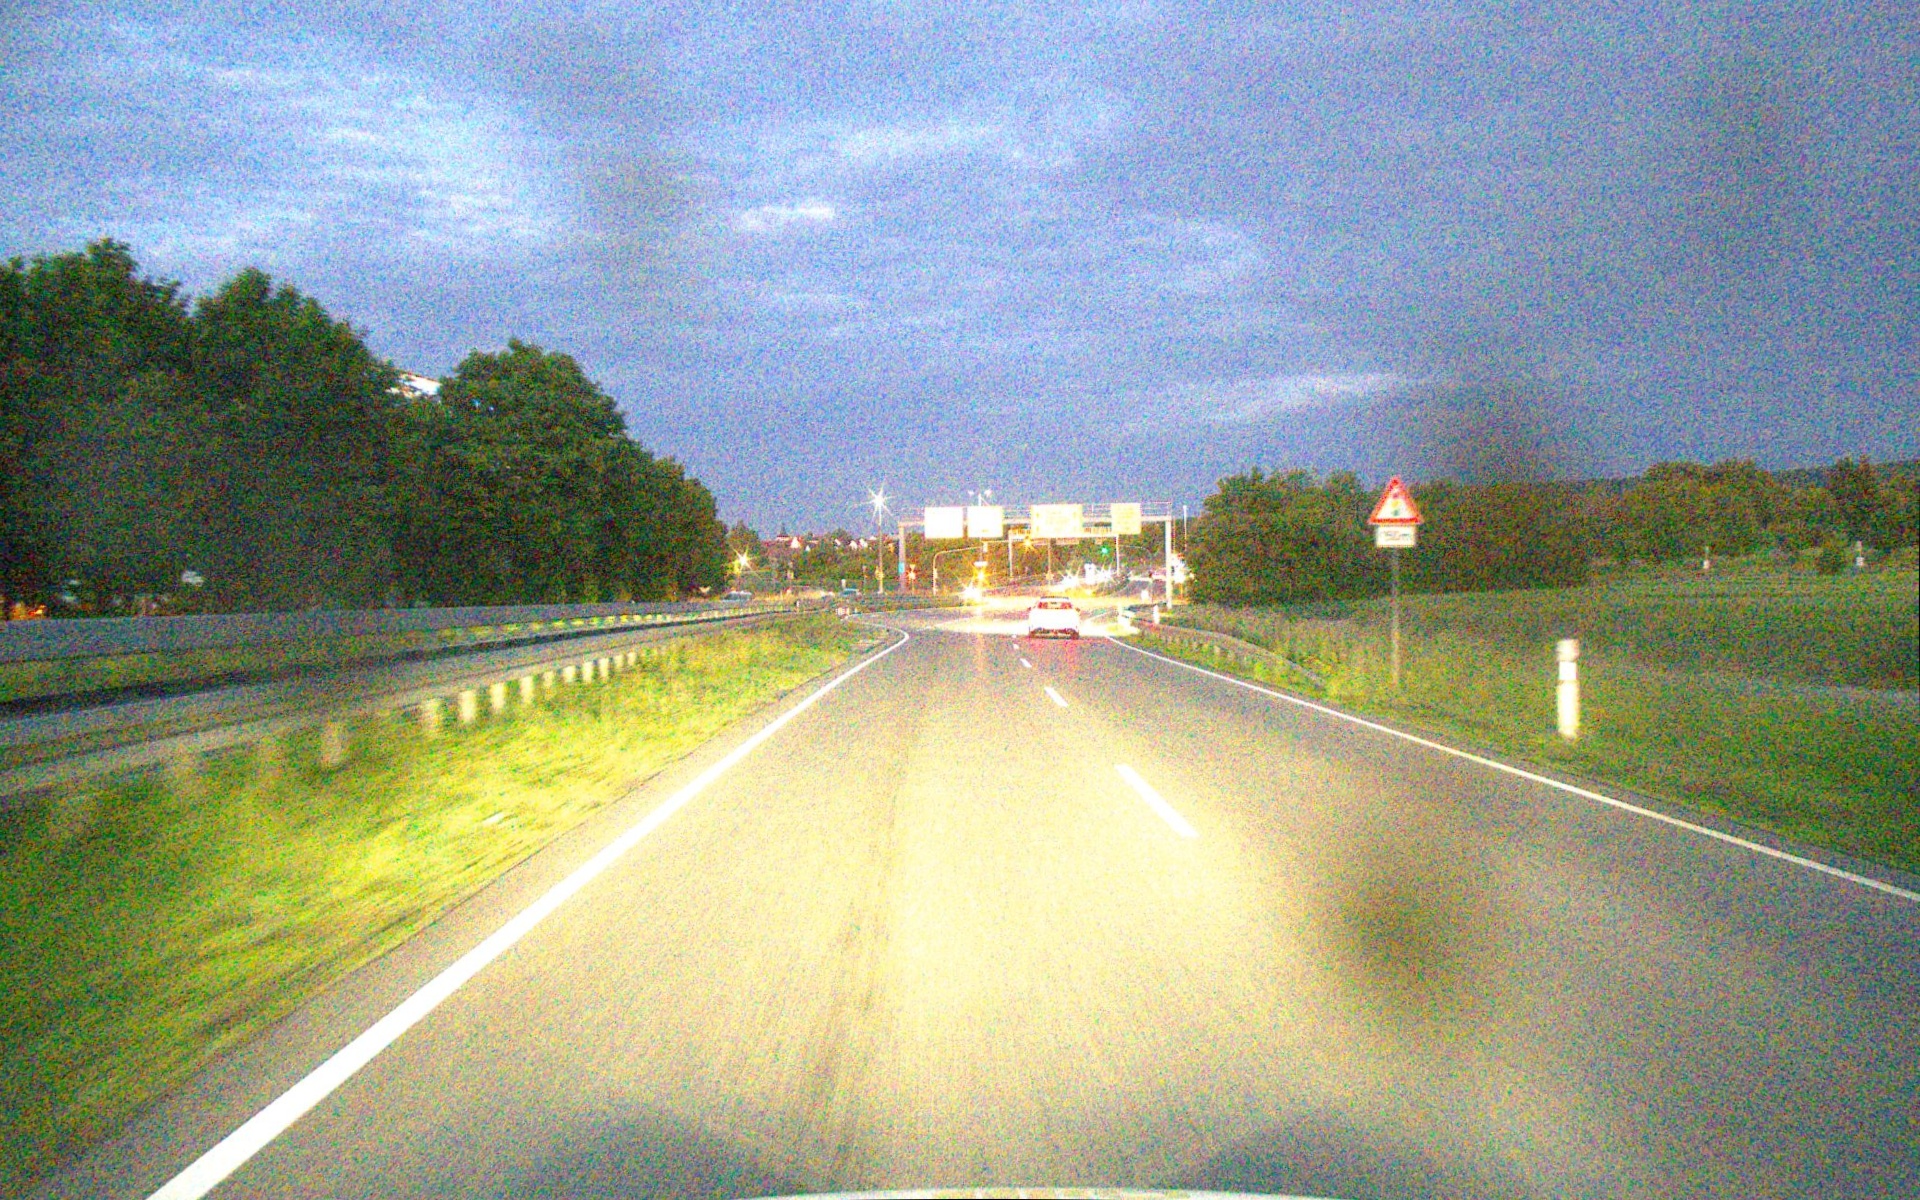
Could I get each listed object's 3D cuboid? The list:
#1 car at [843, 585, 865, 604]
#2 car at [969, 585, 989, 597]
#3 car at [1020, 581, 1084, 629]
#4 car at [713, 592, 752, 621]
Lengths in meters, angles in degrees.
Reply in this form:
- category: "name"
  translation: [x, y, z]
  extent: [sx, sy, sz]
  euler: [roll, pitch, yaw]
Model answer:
- category: "car"
  translation: [-9.556, -0.483, 149.245]
  extent: [1.666, 1.651, 4.306]
  euler: [0, 0, -1]
- category: "car"
  translation: [2.441, -1.151, 212.593]
  extent: [1.951, 1.450, 4.536]
  euler: [0, 1, 9]
- category: "car"
  translation: [3.231, 0.173, 58.781]
  extent: [1.967, 1.639, 3.844]
  euler: [0, 0, -1]
- category: "car"
  translation: [-13.557, 0.372, 98.718]
  extent: [1.734, 1.670, 4.659]
  euler: [-1, 0, -2]
